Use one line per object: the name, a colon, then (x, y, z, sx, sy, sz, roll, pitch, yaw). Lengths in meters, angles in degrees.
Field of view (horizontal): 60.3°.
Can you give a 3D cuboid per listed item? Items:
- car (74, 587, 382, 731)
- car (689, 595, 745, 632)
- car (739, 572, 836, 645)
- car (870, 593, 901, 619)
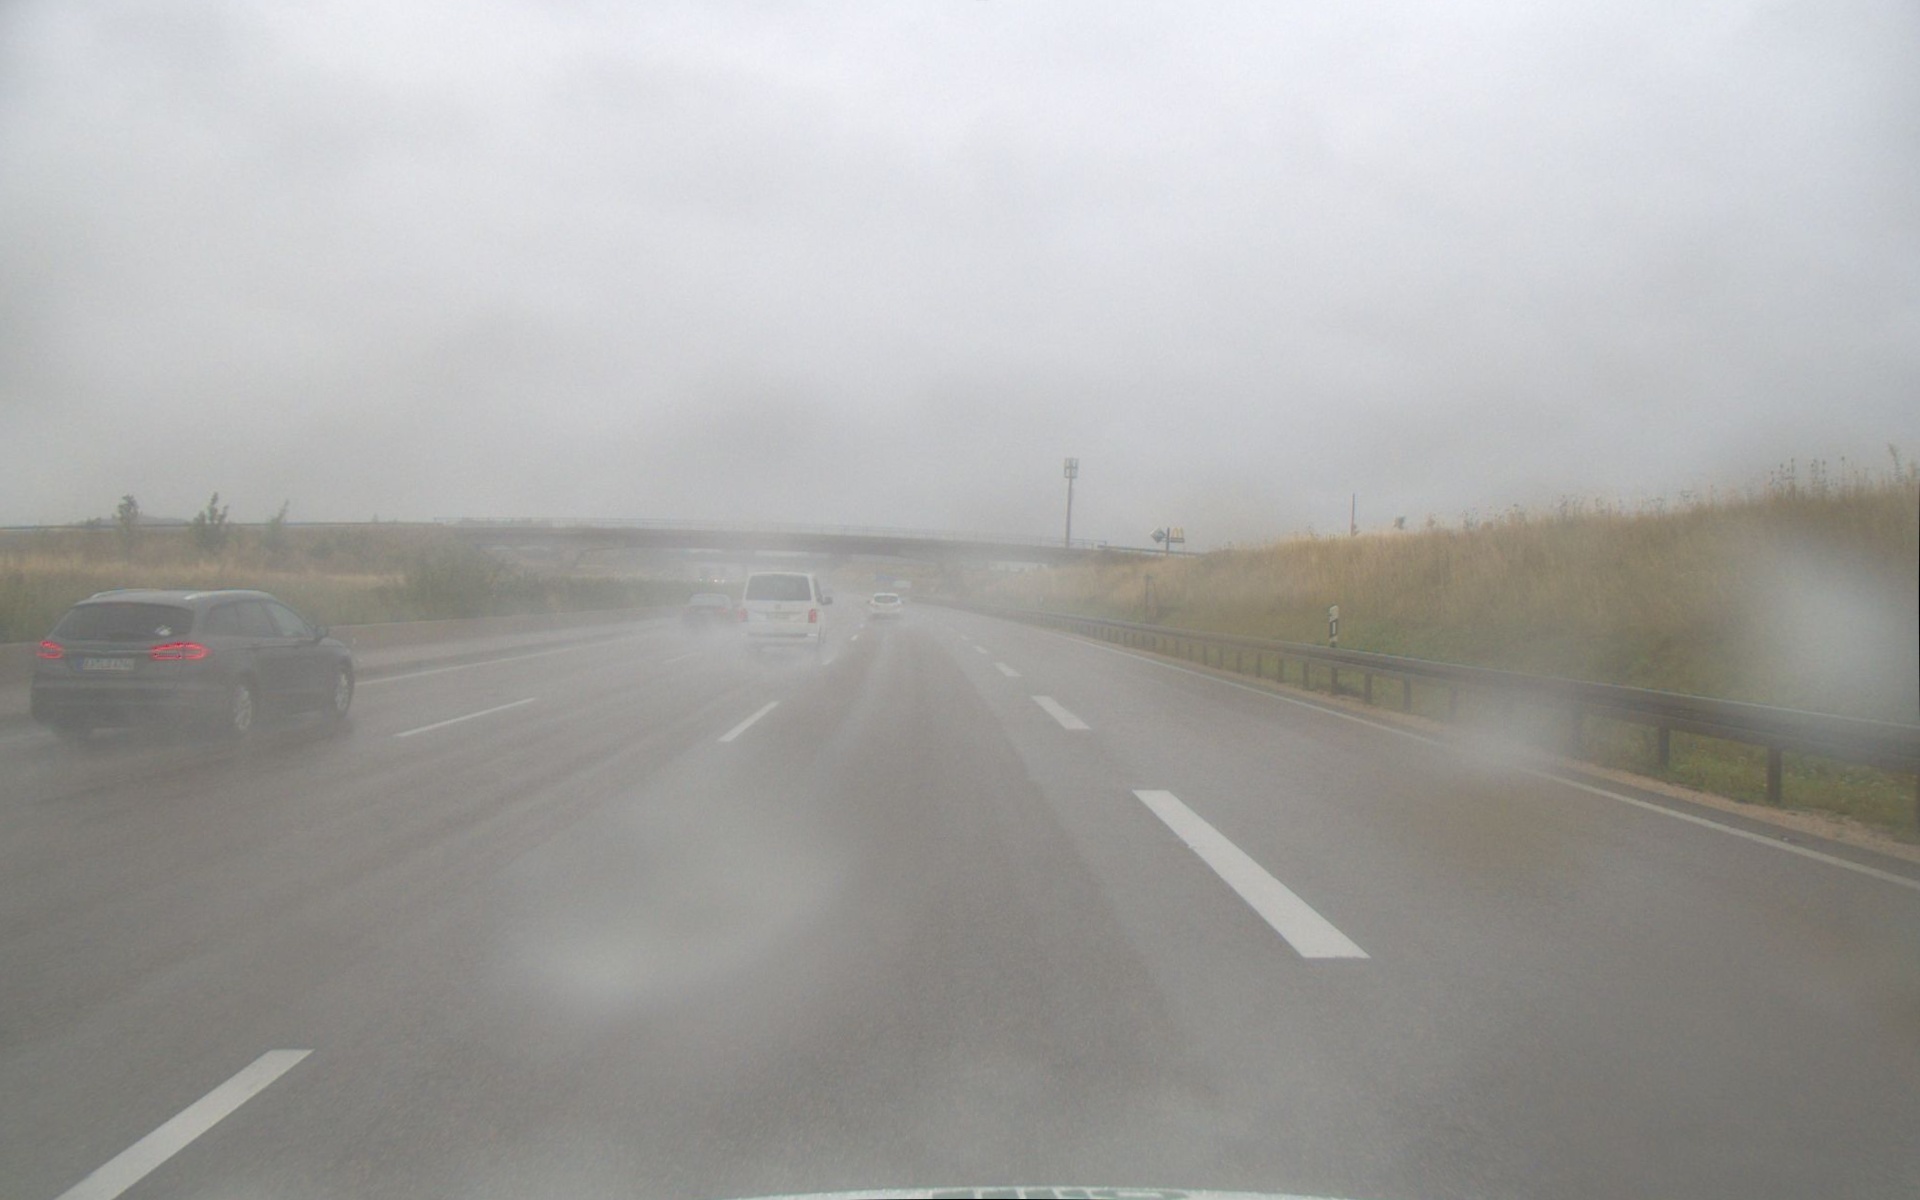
car: (-7.868, 0.568, 18.191, 1.579, 1.378, 4.000, 1, 0, 0)
car: (-8.660, 0.461, 59.123, 1.437, 1.279, 3.340, 1, 0, 1)
car: (-4.055, 0.186, 39.484, 1.858, 1.613, 4.000, 1, 0, 0)
car: (-3.671, 0.279, 81.683, 1.439, 1.229, 2.989, 0, 0, -4)
